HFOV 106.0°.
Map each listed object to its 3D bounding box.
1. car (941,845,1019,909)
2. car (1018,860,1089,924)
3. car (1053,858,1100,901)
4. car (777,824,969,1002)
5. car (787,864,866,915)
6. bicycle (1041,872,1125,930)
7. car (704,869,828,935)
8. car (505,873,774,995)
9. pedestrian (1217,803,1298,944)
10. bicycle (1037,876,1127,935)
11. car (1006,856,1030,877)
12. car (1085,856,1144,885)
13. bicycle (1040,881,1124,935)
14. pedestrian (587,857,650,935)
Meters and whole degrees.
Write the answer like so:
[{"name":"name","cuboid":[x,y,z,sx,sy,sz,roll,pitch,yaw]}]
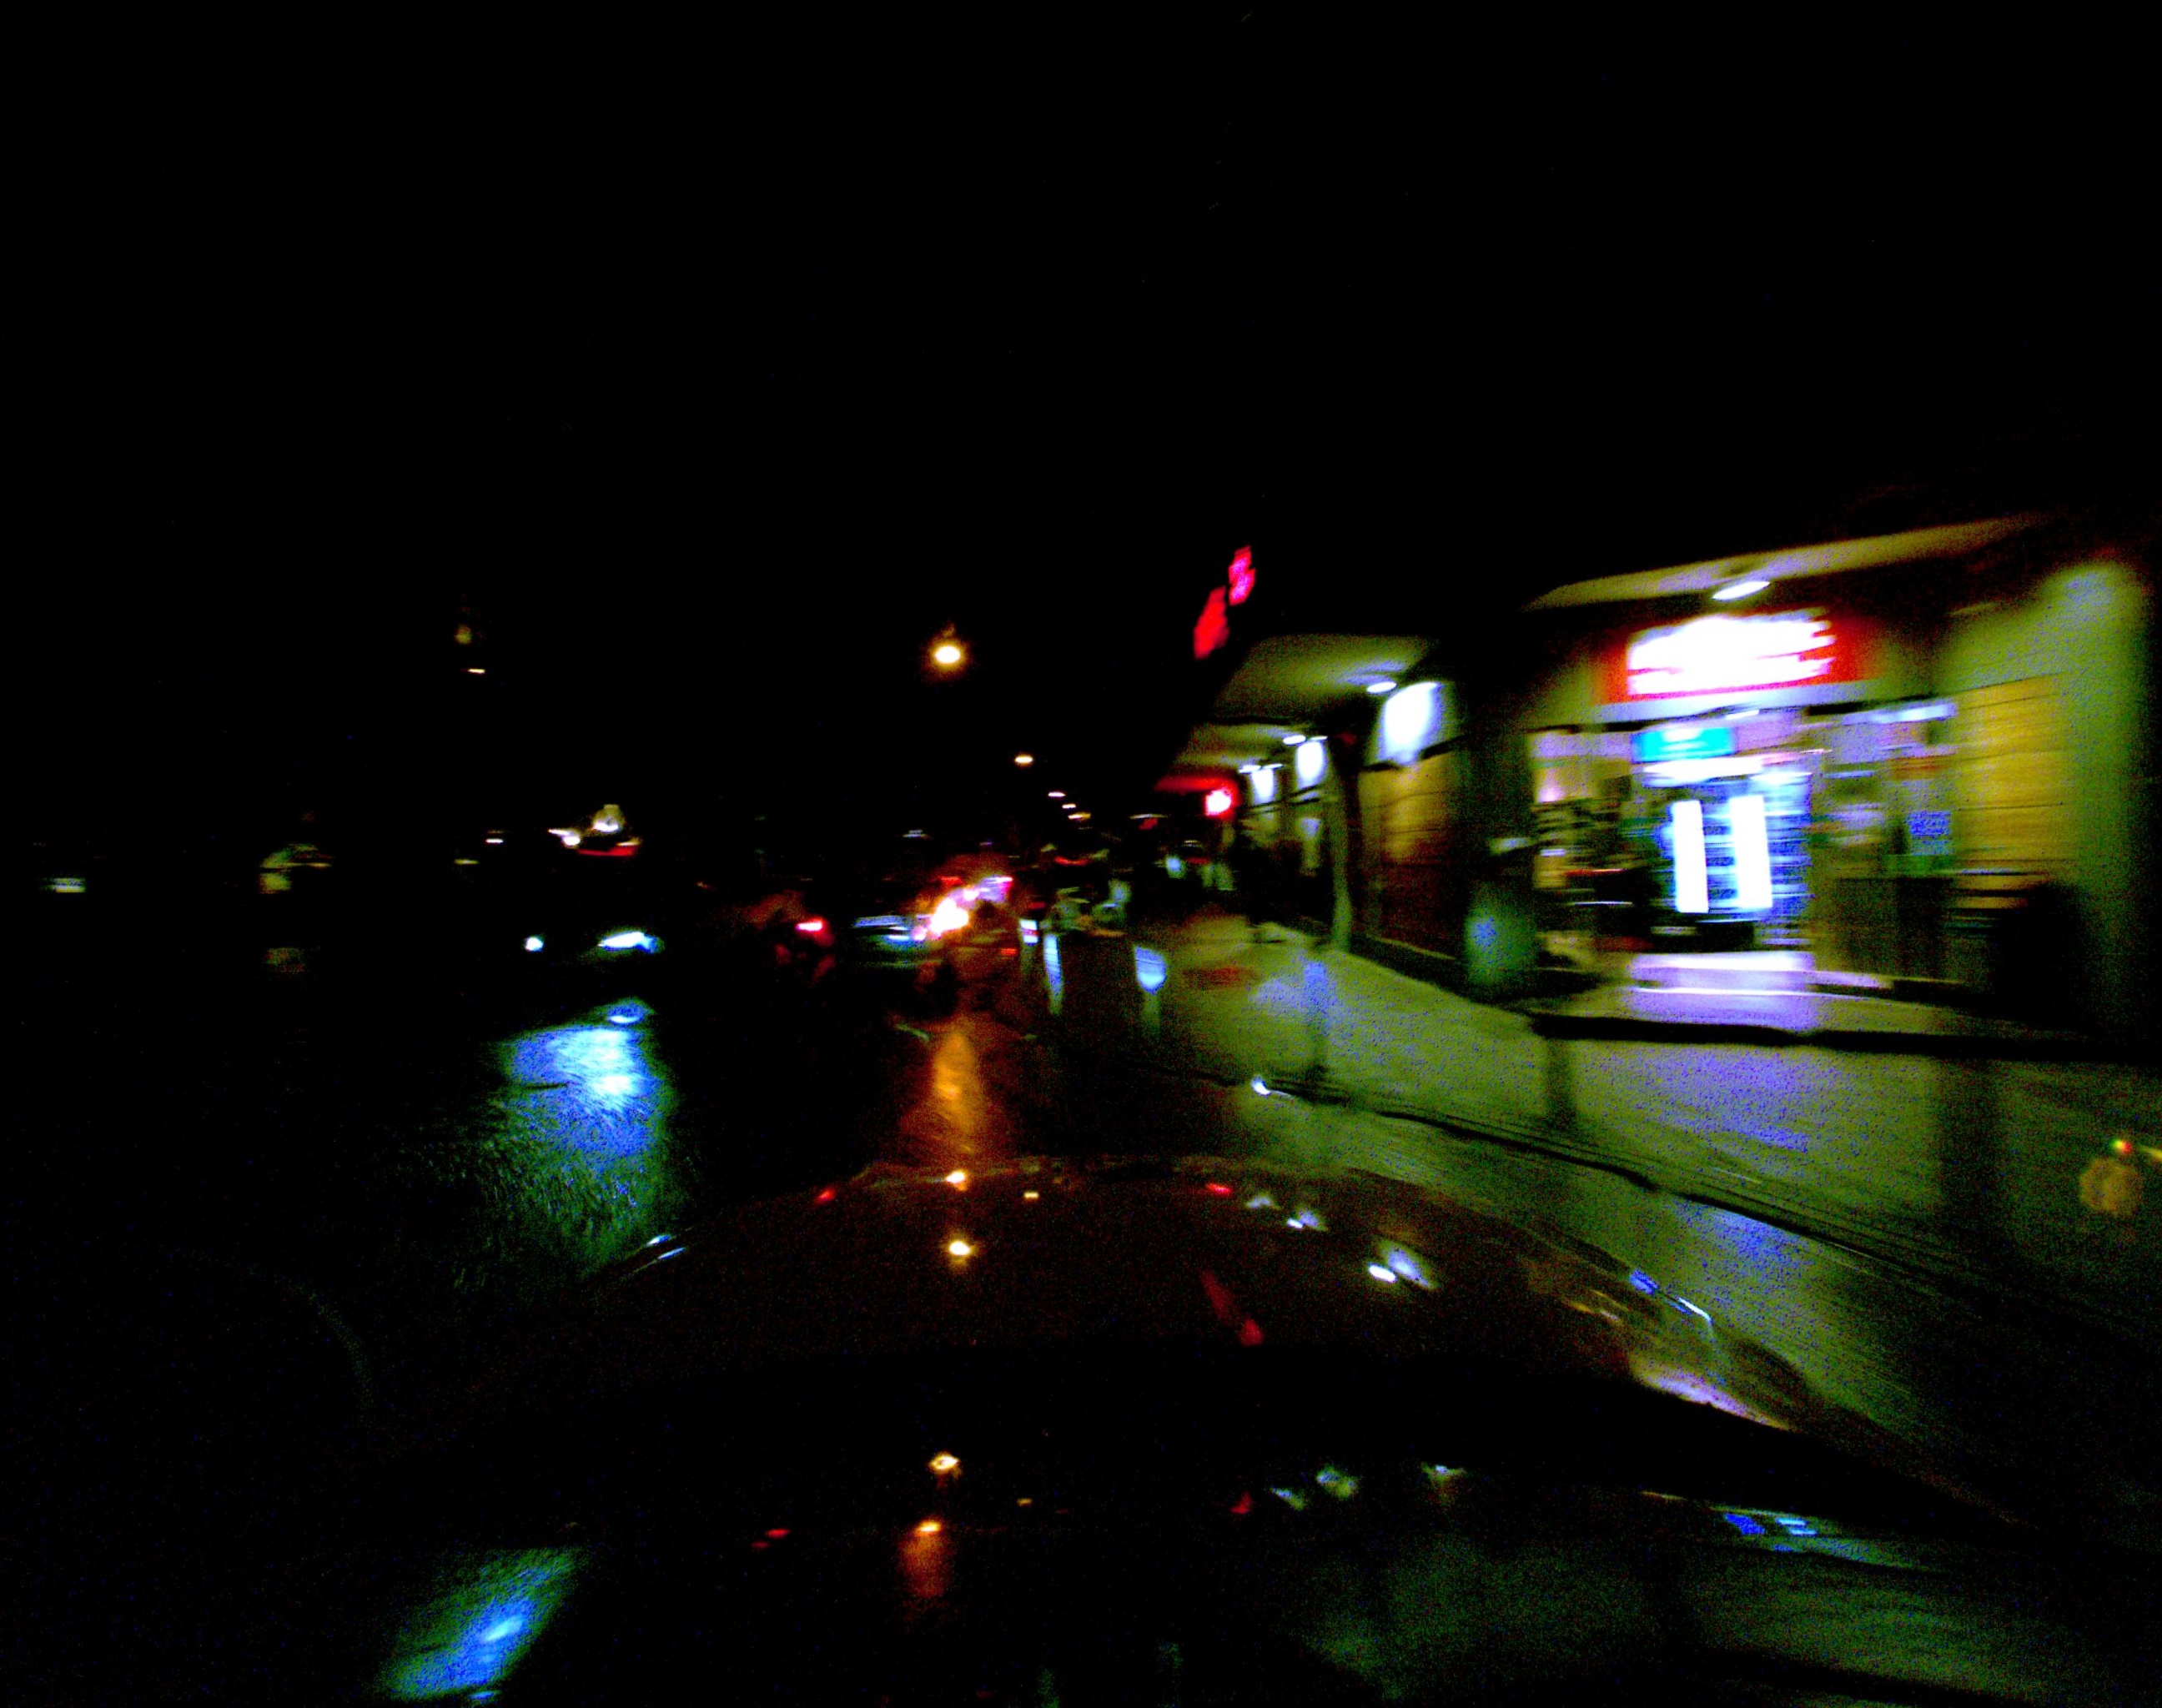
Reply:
[{"name":"car","cuboid":[-3.250,0.681,27.153,2.117,1.922,4.823,0,0,-2]},{"name":"car","cuboid":[-0.651,0.972,22.195,1.747,1.566,4.154,0,-1,0]},{"name":"car","cuboid":[-0.142,0.976,32.582,1.747,1.608,3.989,0,-1,0]},{"name":"car","cuboid":[-2.875,0.671,11.636,2.125,1.991,4.580,-1,0,-13]},{"name":"car","cuboid":[-8.193,1.104,26.420,1.580,1.510,2.789,-1,0,2]},{"name":"bicycle","cuboid":[0.038,1.041,18.136,1.756,1.125,0.435,-5,0,-1]},{"name":"car","cuboid":[-8.297,1.202,21.835,1.580,1.463,4.026,2,0,2]},{"name":"car","cuboid":[-6.572,1.108,12.714,1.554,1.427,4.077,-3,0,7]},{"name":"pedestrian","cuboid":[2.922,0.316,13.585,1.050,2.208,0.970,-3,-1,1]},{"name":"bicycle","cuboid":[0.030,1.044,16.626,1.777,1.125,0.435,-2,0,-1]},{"name":"car","cuboid":[-6.341,1.273,81.959,1.986,2.014,4.001,0,-1,1]},{"name":"car","cuboid":[2.524,1.279,62.051,3.994,2.014,1.989,-2,-2,-15]},{"name":"bicycle","cuboid":[0.021,1.145,17.509,1.756,1.079,0.435,-2,0,-1]},{"name":"pedestrian","cuboid":[-10.884,0.971,19.183,0.799,1.766,1.018,0,-1,7]}]
